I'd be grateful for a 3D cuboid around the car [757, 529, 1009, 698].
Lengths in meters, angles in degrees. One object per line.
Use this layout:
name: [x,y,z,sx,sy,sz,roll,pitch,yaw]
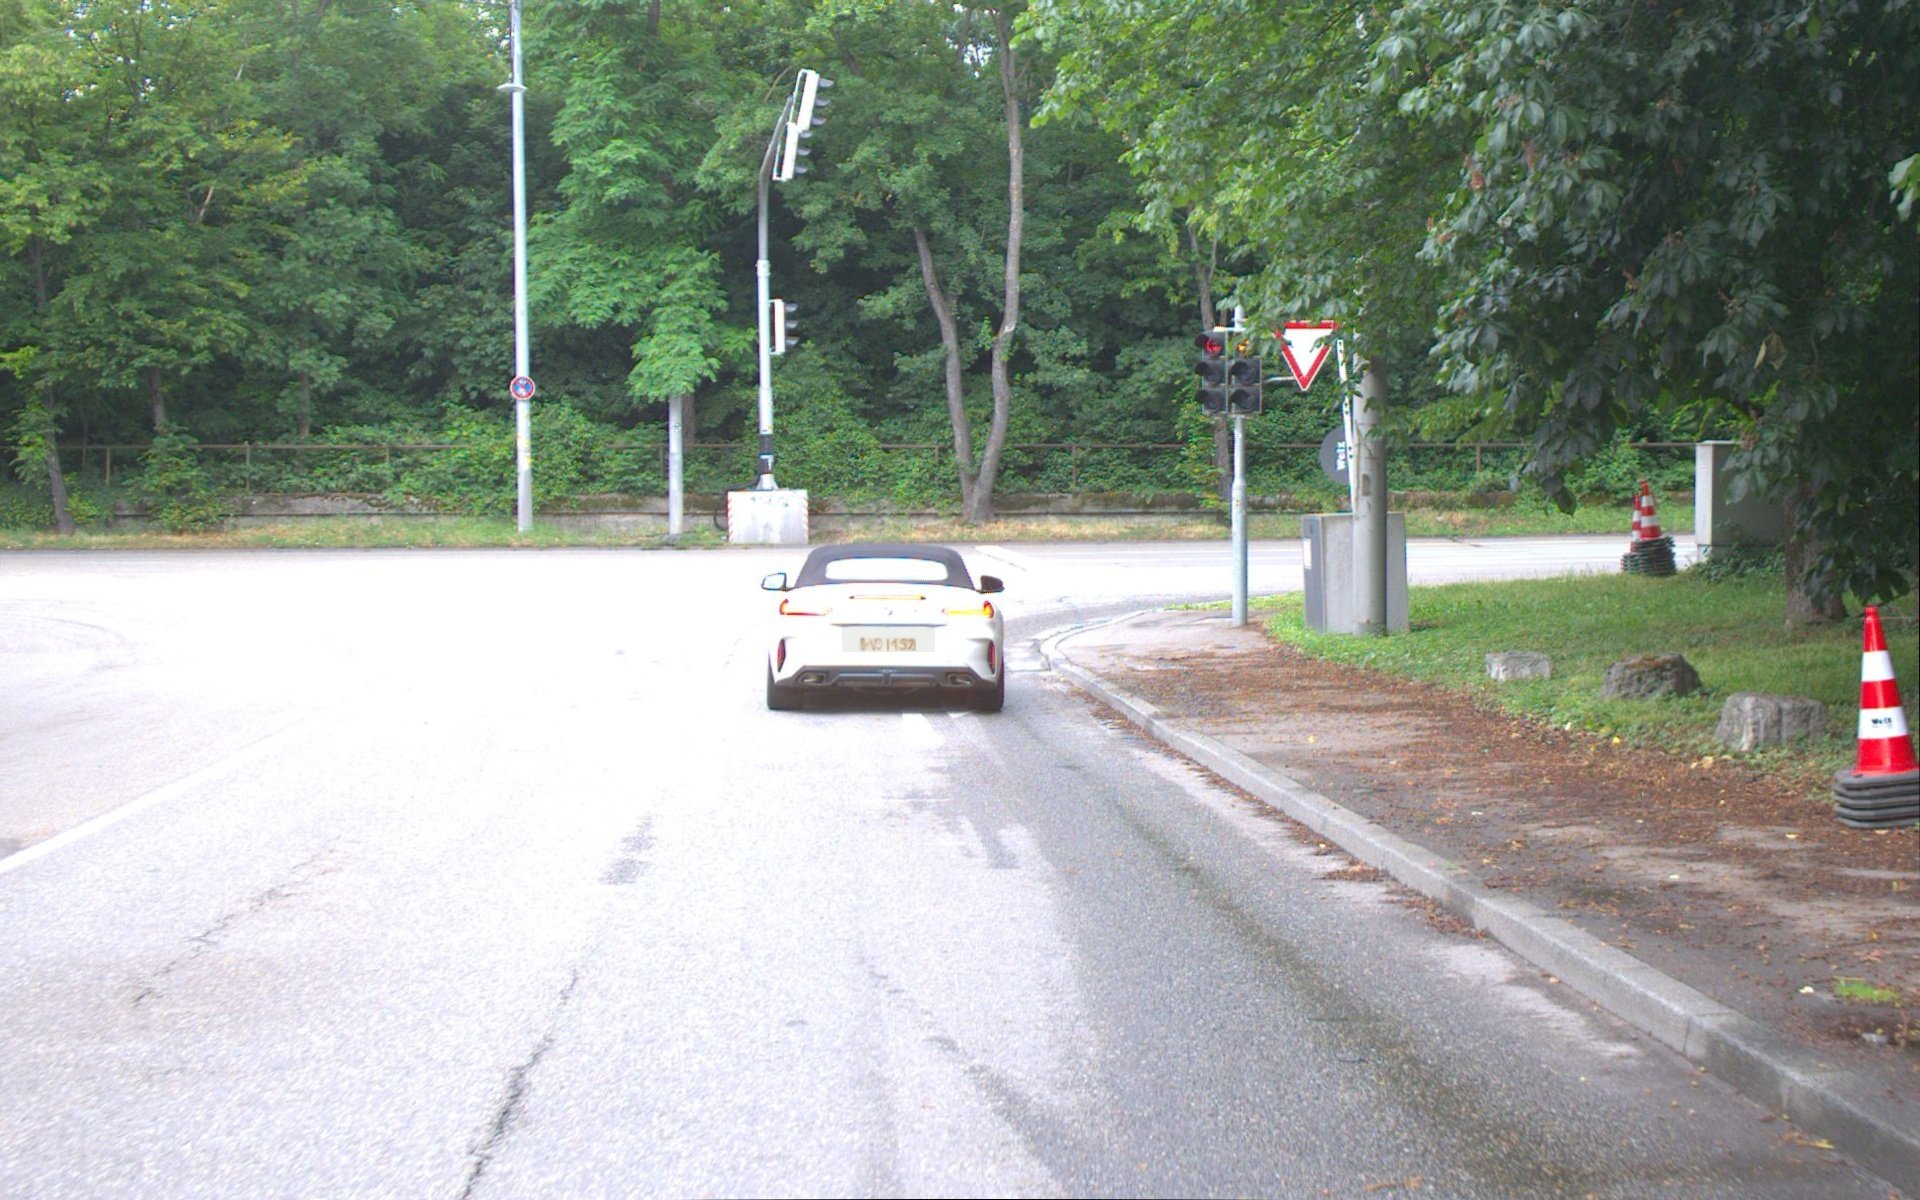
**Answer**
car: [-0.700,0.103,28.167,1.827,1.253,4.001,1,0,-4]
